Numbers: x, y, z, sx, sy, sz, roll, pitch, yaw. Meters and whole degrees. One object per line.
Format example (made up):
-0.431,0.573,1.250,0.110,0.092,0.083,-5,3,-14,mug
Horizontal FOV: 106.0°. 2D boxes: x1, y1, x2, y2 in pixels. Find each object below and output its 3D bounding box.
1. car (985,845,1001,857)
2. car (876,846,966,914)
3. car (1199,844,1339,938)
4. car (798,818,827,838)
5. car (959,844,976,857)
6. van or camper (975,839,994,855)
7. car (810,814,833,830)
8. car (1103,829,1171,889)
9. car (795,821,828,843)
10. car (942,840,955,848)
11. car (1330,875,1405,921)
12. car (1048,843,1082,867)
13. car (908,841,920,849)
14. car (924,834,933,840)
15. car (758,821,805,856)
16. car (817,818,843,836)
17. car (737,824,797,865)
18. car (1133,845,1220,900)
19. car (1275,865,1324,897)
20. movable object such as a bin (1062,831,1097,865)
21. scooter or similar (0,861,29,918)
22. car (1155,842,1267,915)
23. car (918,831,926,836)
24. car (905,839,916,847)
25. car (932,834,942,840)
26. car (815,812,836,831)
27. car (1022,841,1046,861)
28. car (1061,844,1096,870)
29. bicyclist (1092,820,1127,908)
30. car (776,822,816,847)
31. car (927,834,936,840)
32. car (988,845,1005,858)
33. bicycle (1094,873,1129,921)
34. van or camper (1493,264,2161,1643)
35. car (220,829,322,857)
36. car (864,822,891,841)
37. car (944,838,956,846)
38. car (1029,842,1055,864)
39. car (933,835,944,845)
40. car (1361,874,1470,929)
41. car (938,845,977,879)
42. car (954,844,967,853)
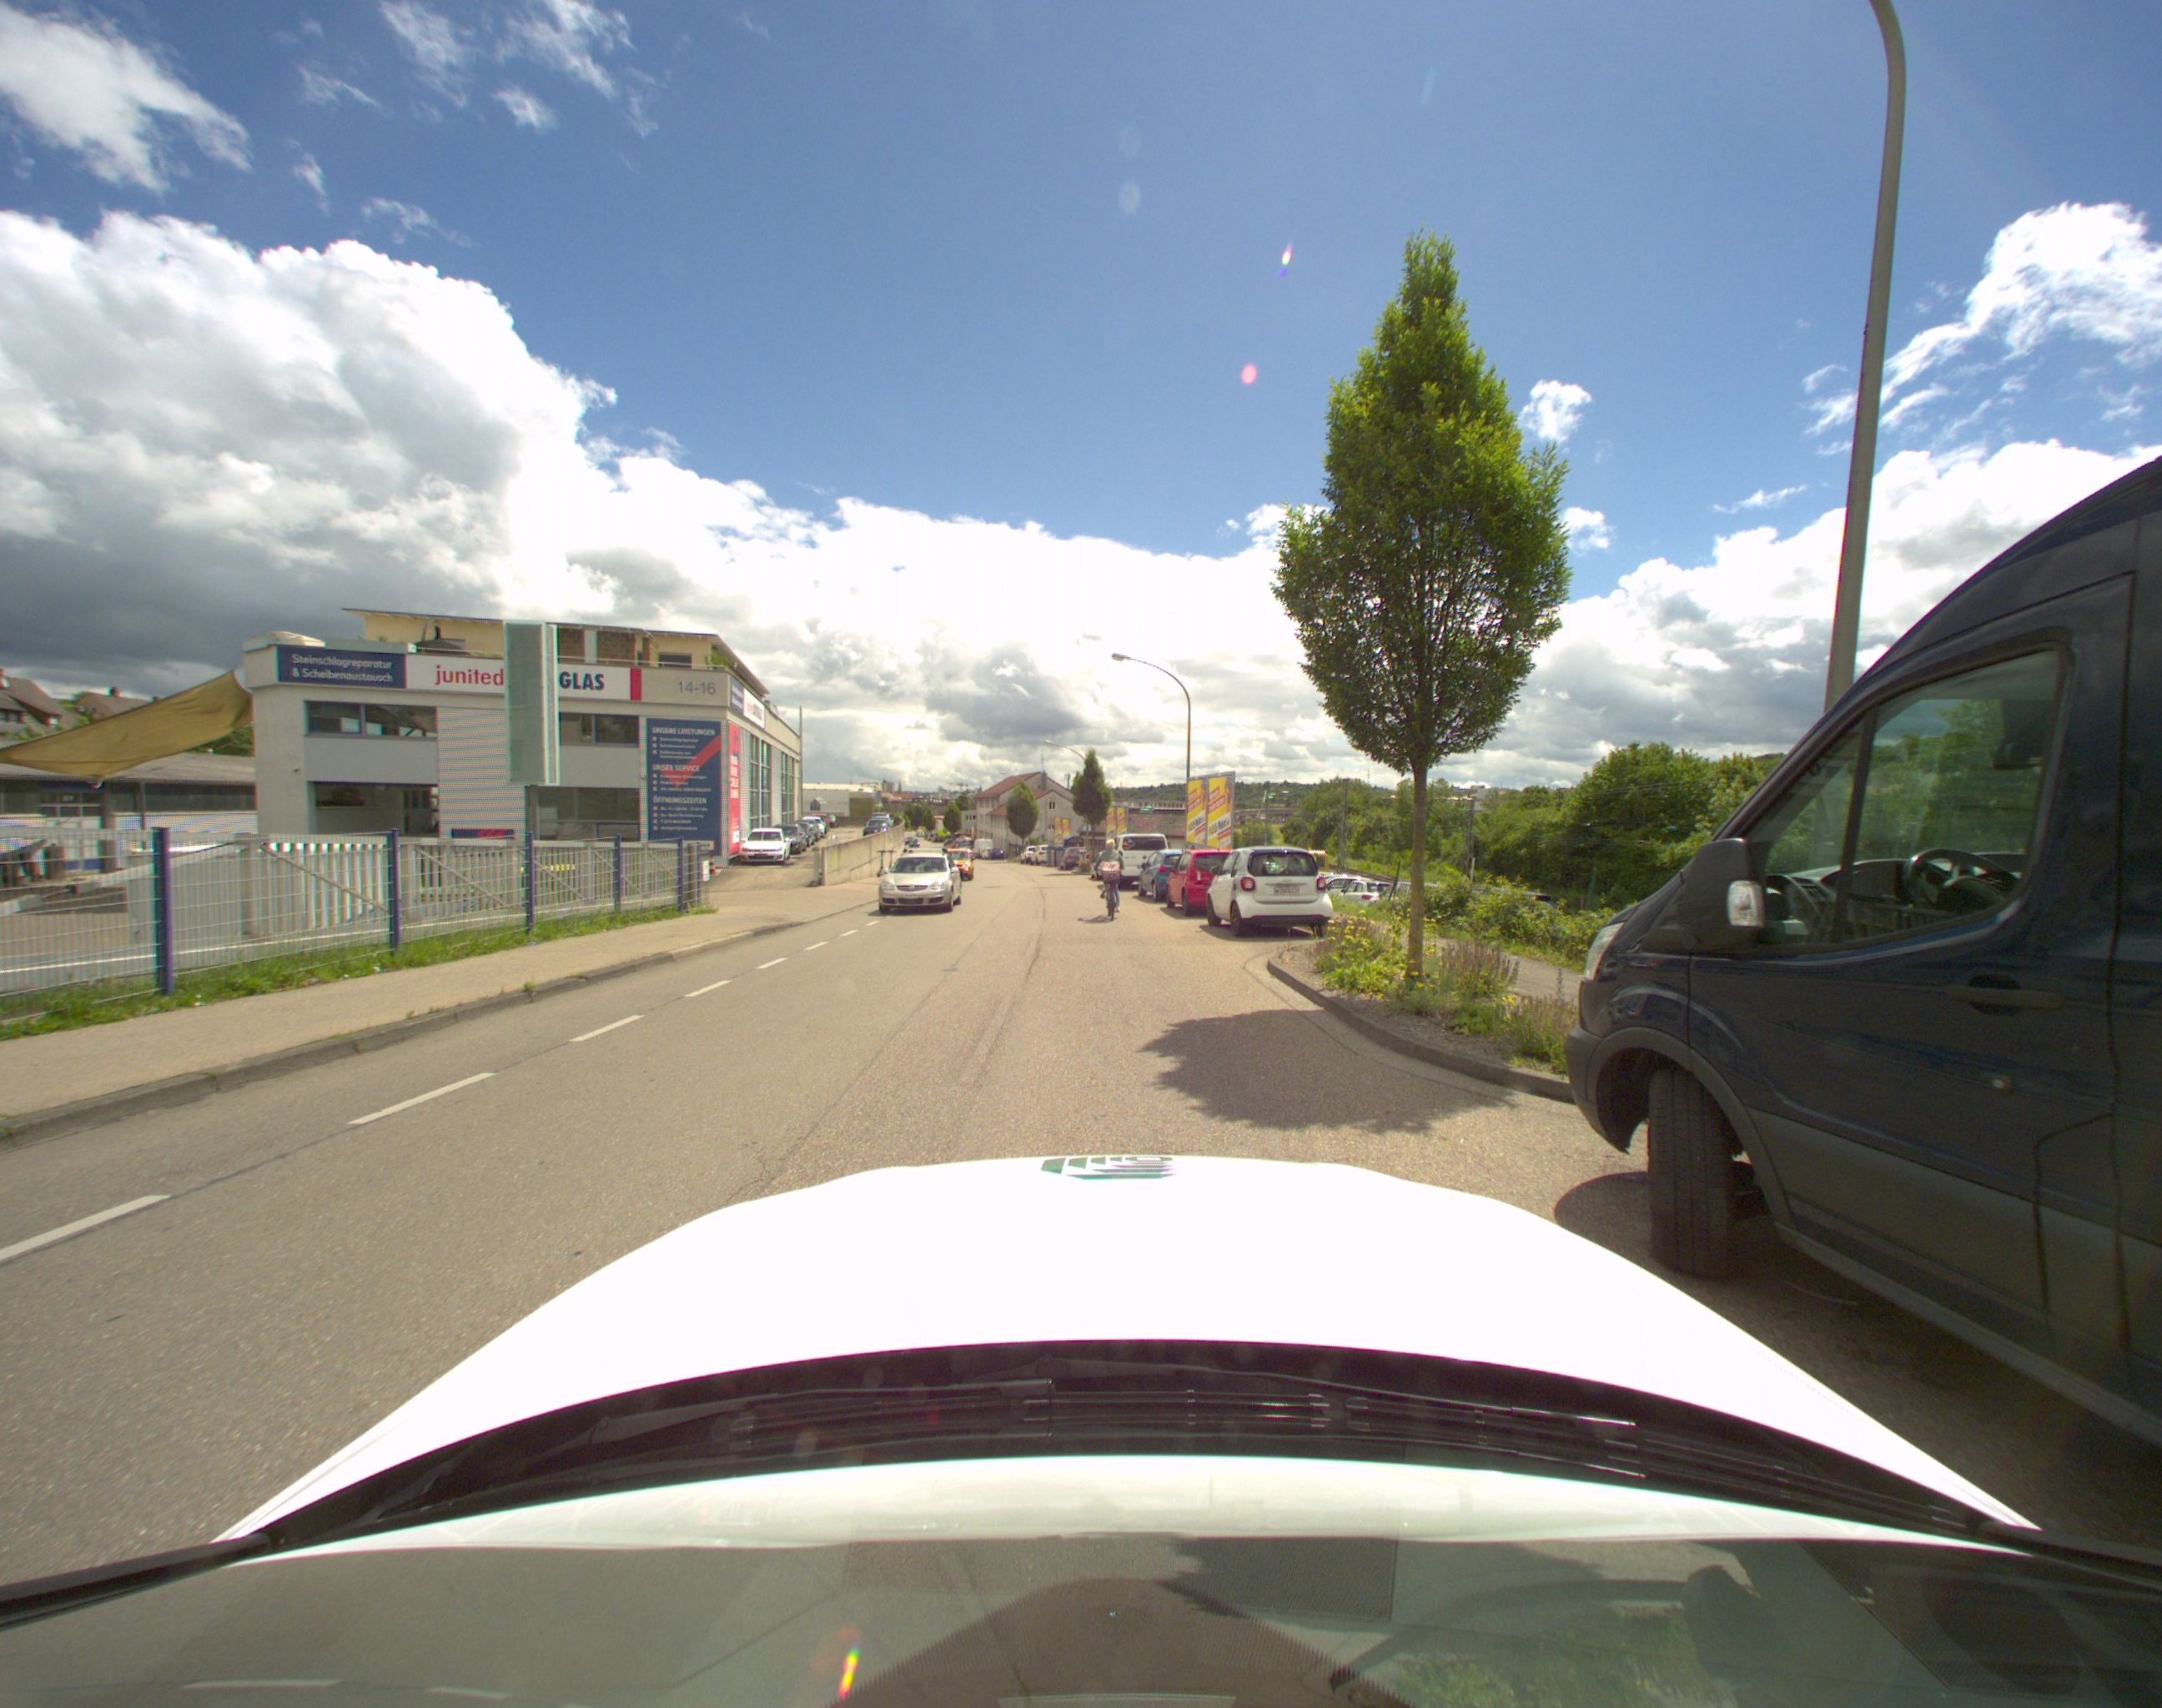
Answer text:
-11.201,-0.421,103.388,1.992,1.464,3.990,-1,1,-7,car
-4.031,0.576,21.127,1.699,1.562,4.322,-1,1,-4,car
3.311,0.594,14.873,1.789,1.506,2.904,-1,1,-2,car
-19.444,-1.857,59.121,1.672,1.323,3.701,-1,1,-13,car
-14.292,-0.450,102.452,1.994,1.618,3.985,-1,1,-11,car
-12.820,-0.905,108.154,1.996,2.013,3.983,2,1,-13,van or camper
-23.180,-2.826,72.866,1.672,1.323,3.701,-1,1,-13,car
1.993,0.146,30.531,1.989,2.013,4.914,1,1,-2,car
-17.355,-1.370,52.617,1.672,1.323,3.701,-1,1,-13,car
-23.105,-1.743,141.974,1.995,1.464,3.984,-1,1,-11,car
10.977,1.661,31.478,1.615,1.506,3.578,-1,1,0,car
-1.273,0.034,61.991,2.133,1.706,3.990,-1,1,-8,car
-30.862,-1.638,150.968,1.993,1.420,3.987,-1,1,-9,car
-39.235,-4.436,209.643,1.995,1.420,3.983,-1,1,-12,car
-14.839,-0.744,40.476,1.697,1.629,3.701,-1,1,-13,car
-19.843,-2.092,64.526,1.672,1.323,3.701,-1,1,-13,car
-13.632,-0.401,35.582,1.849,1.650,3.982,-1,1,-13,car
2.709,0.478,23.864,1.899,1.442,3.539,-1,1,-4,car
11.584,1.383,43.386,1.615,1.506,3.578,-1,1,0,car
-0.127,-0.430,57.829,2.133,2.302,2.551,-1,1,-8,movable object such as a bin
-33.401,1.094,23.000,4.002,1.662,1.986,-2,1,-21,scooter or similar
2.975,0.504,19.411,1.871,1.508,3.997,-1,1,-2,car
-47.081,-6.000,240.919,1.995,1.420,3.983,-1,1,-12,car
-34.666,-2.235,165.622,1.995,1.420,3.983,-1,1,-12,car
-33.305,-3.953,188.281,1.995,1.420,3.983,-1,1,-12,car
-25.330,-3.173,80.879,1.704,1.729,3.501,2,1,-14,car
-4.251,-0.273,73.076,1.841,1.706,3.990,-1,1,-8,car
-0.209,0.157,53.140,1.989,1.618,3.995,-1,1,-4,car
0.608,0.209,17.530,0.682,1.825,1.081,-1,0,1,bicyclist
-16.291,-1.115,46.633,1.723,1.323,3.701,-1,1,-13,car
-36.209,-4.179,197.587,1.995,1.420,3.983,-1,1,-12,car
-10.344,-0.338,99.086,1.992,1.464,3.990,-1,1,-7,car
0.644,0.896,17.573,0.685,0.878,2.102,-1,1,1,bicycle
3.081,0.192,1.099,2.117,2.585,5.918,0,1,1,van or camper
-41.621,-0.554,41.986,1.997,1.354,3.979,0,1,-15,car
-14.526,-1.615,58.285,1.671,1.323,3.705,0,2,-11,car
-25.443,-2.306,157.889,1.995,1.420,3.983,-1,1,-12,car
-3.257,-0.096,67.166,1.812,1.706,3.990,-1,1,-8,car
-32.167,-3.204,183.730,1.997,2.013,3.979,2,1,-16,car
11.015,1.510,27.168,1.788,1.506,4.440,-1,1,0,car
-6.025,0.366,40.140,1.707,1.574,3.991,-1,1,-7,car
-20.116,-0.872,135.759,1.995,1.464,3.984,-1,1,-11,car
